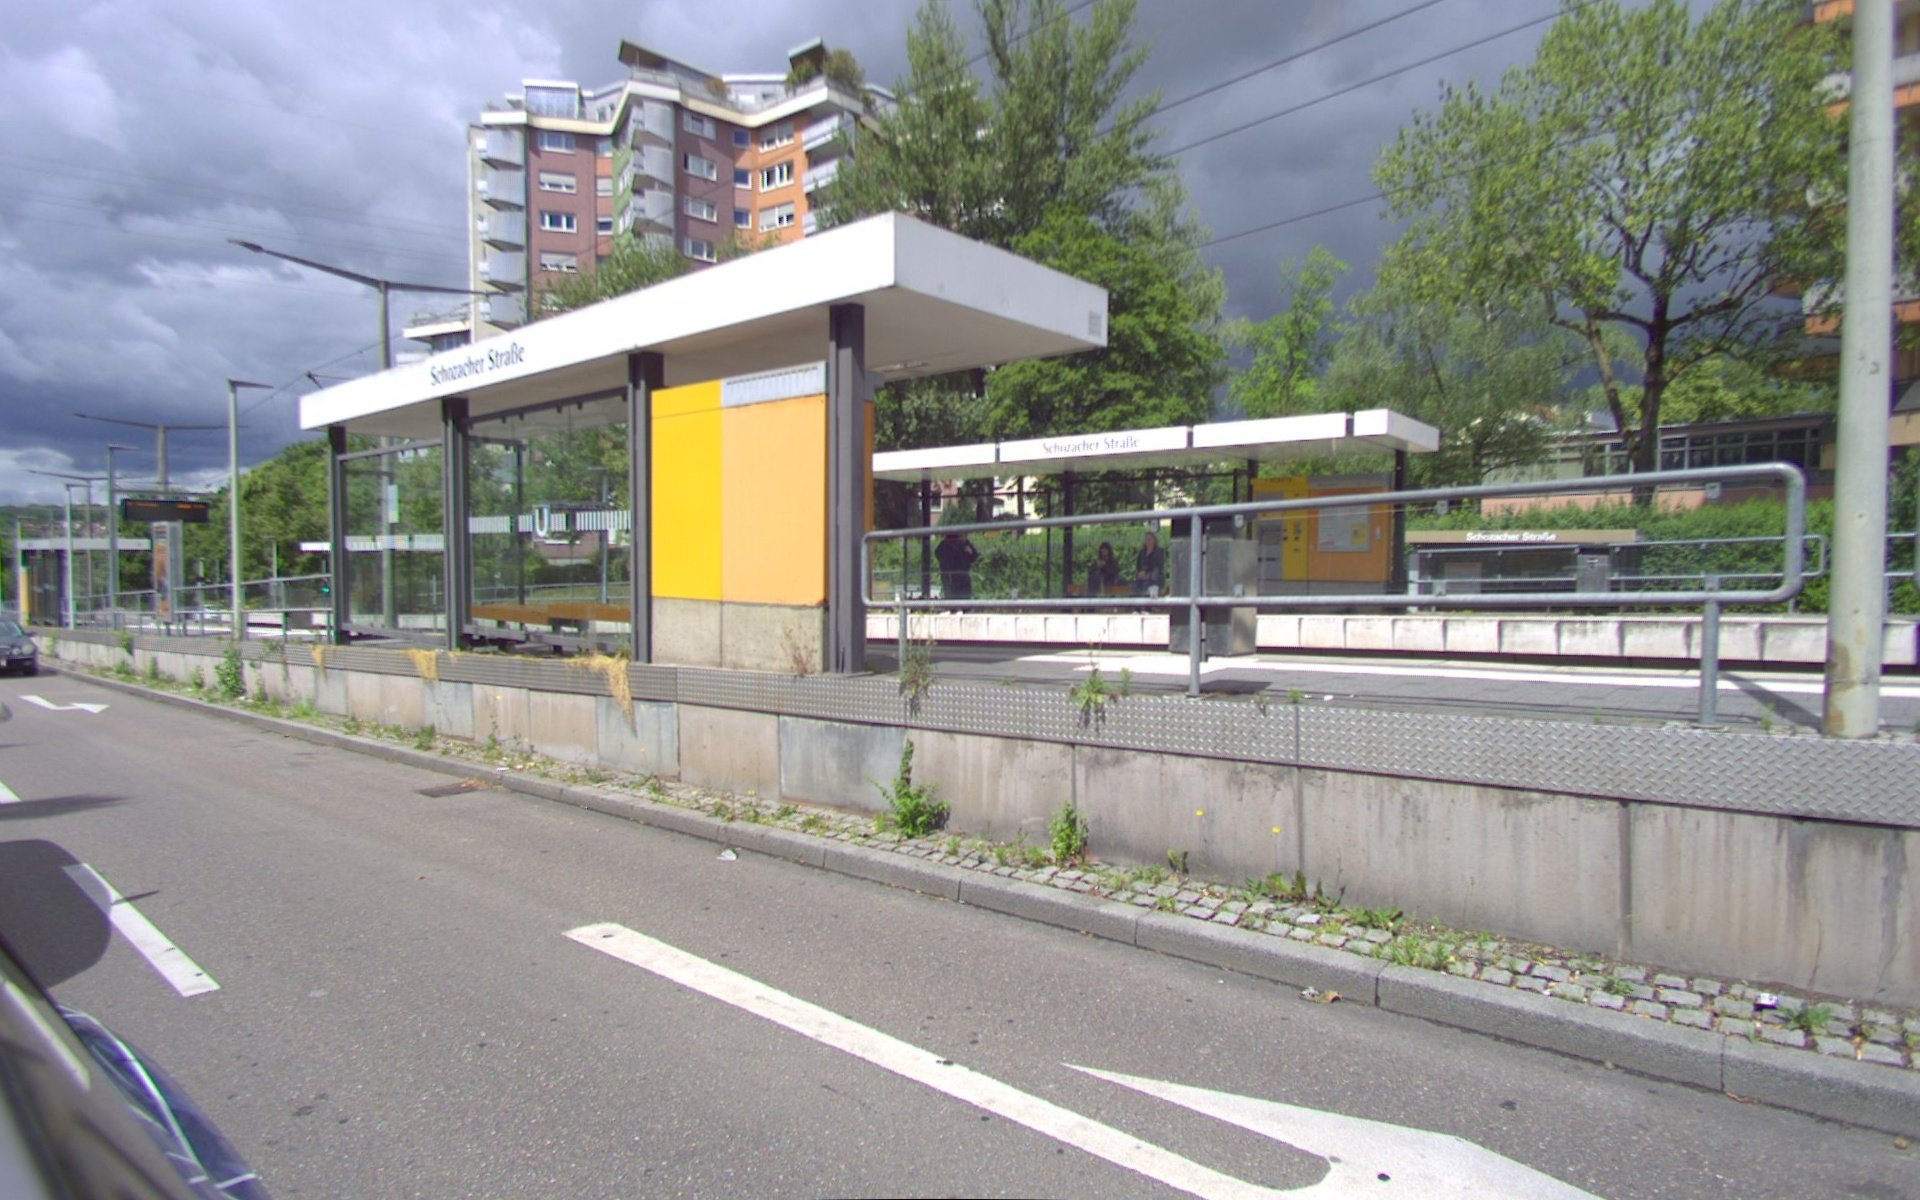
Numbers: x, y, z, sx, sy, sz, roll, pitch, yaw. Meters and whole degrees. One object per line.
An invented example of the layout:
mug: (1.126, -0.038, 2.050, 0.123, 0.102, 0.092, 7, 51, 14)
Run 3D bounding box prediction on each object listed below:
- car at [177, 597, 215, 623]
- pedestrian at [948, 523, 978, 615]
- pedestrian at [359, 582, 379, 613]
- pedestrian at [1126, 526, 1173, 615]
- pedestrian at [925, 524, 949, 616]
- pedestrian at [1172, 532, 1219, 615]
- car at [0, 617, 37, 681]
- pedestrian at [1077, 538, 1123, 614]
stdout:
car: (-60.492, 0.800, 80.094, 4.000, 2.029, 1.714, -1, 0, 43)
pedestrian: (0.058, -0.580, 19.302, 0.544, 1.726, 0.386, -1, 0, 2)
pedestrian: (-24.225, -0.099, 41.492, 0.561, 1.287, 0.530, -1, 0, 38)
pedestrian: (3.145, -0.480, 16.754, 0.463, 1.428, 0.704, -1, 0, 40)
pedestrian: (-0.442, -0.566, 19.241, 0.421, 1.726, 0.353, -1, 0, -1)
pedestrian: (3.769, -0.417, 16.201, 0.463, 1.287, 0.704, -1, 0, 40)
car: (-23.070, 1.121, 23.702, 4.065, 1.395, 1.797, -1, 0, 43)
pedestrian: (2.431, -0.401, 17.555, 0.463, 1.287, 0.704, -1, 0, 40)
